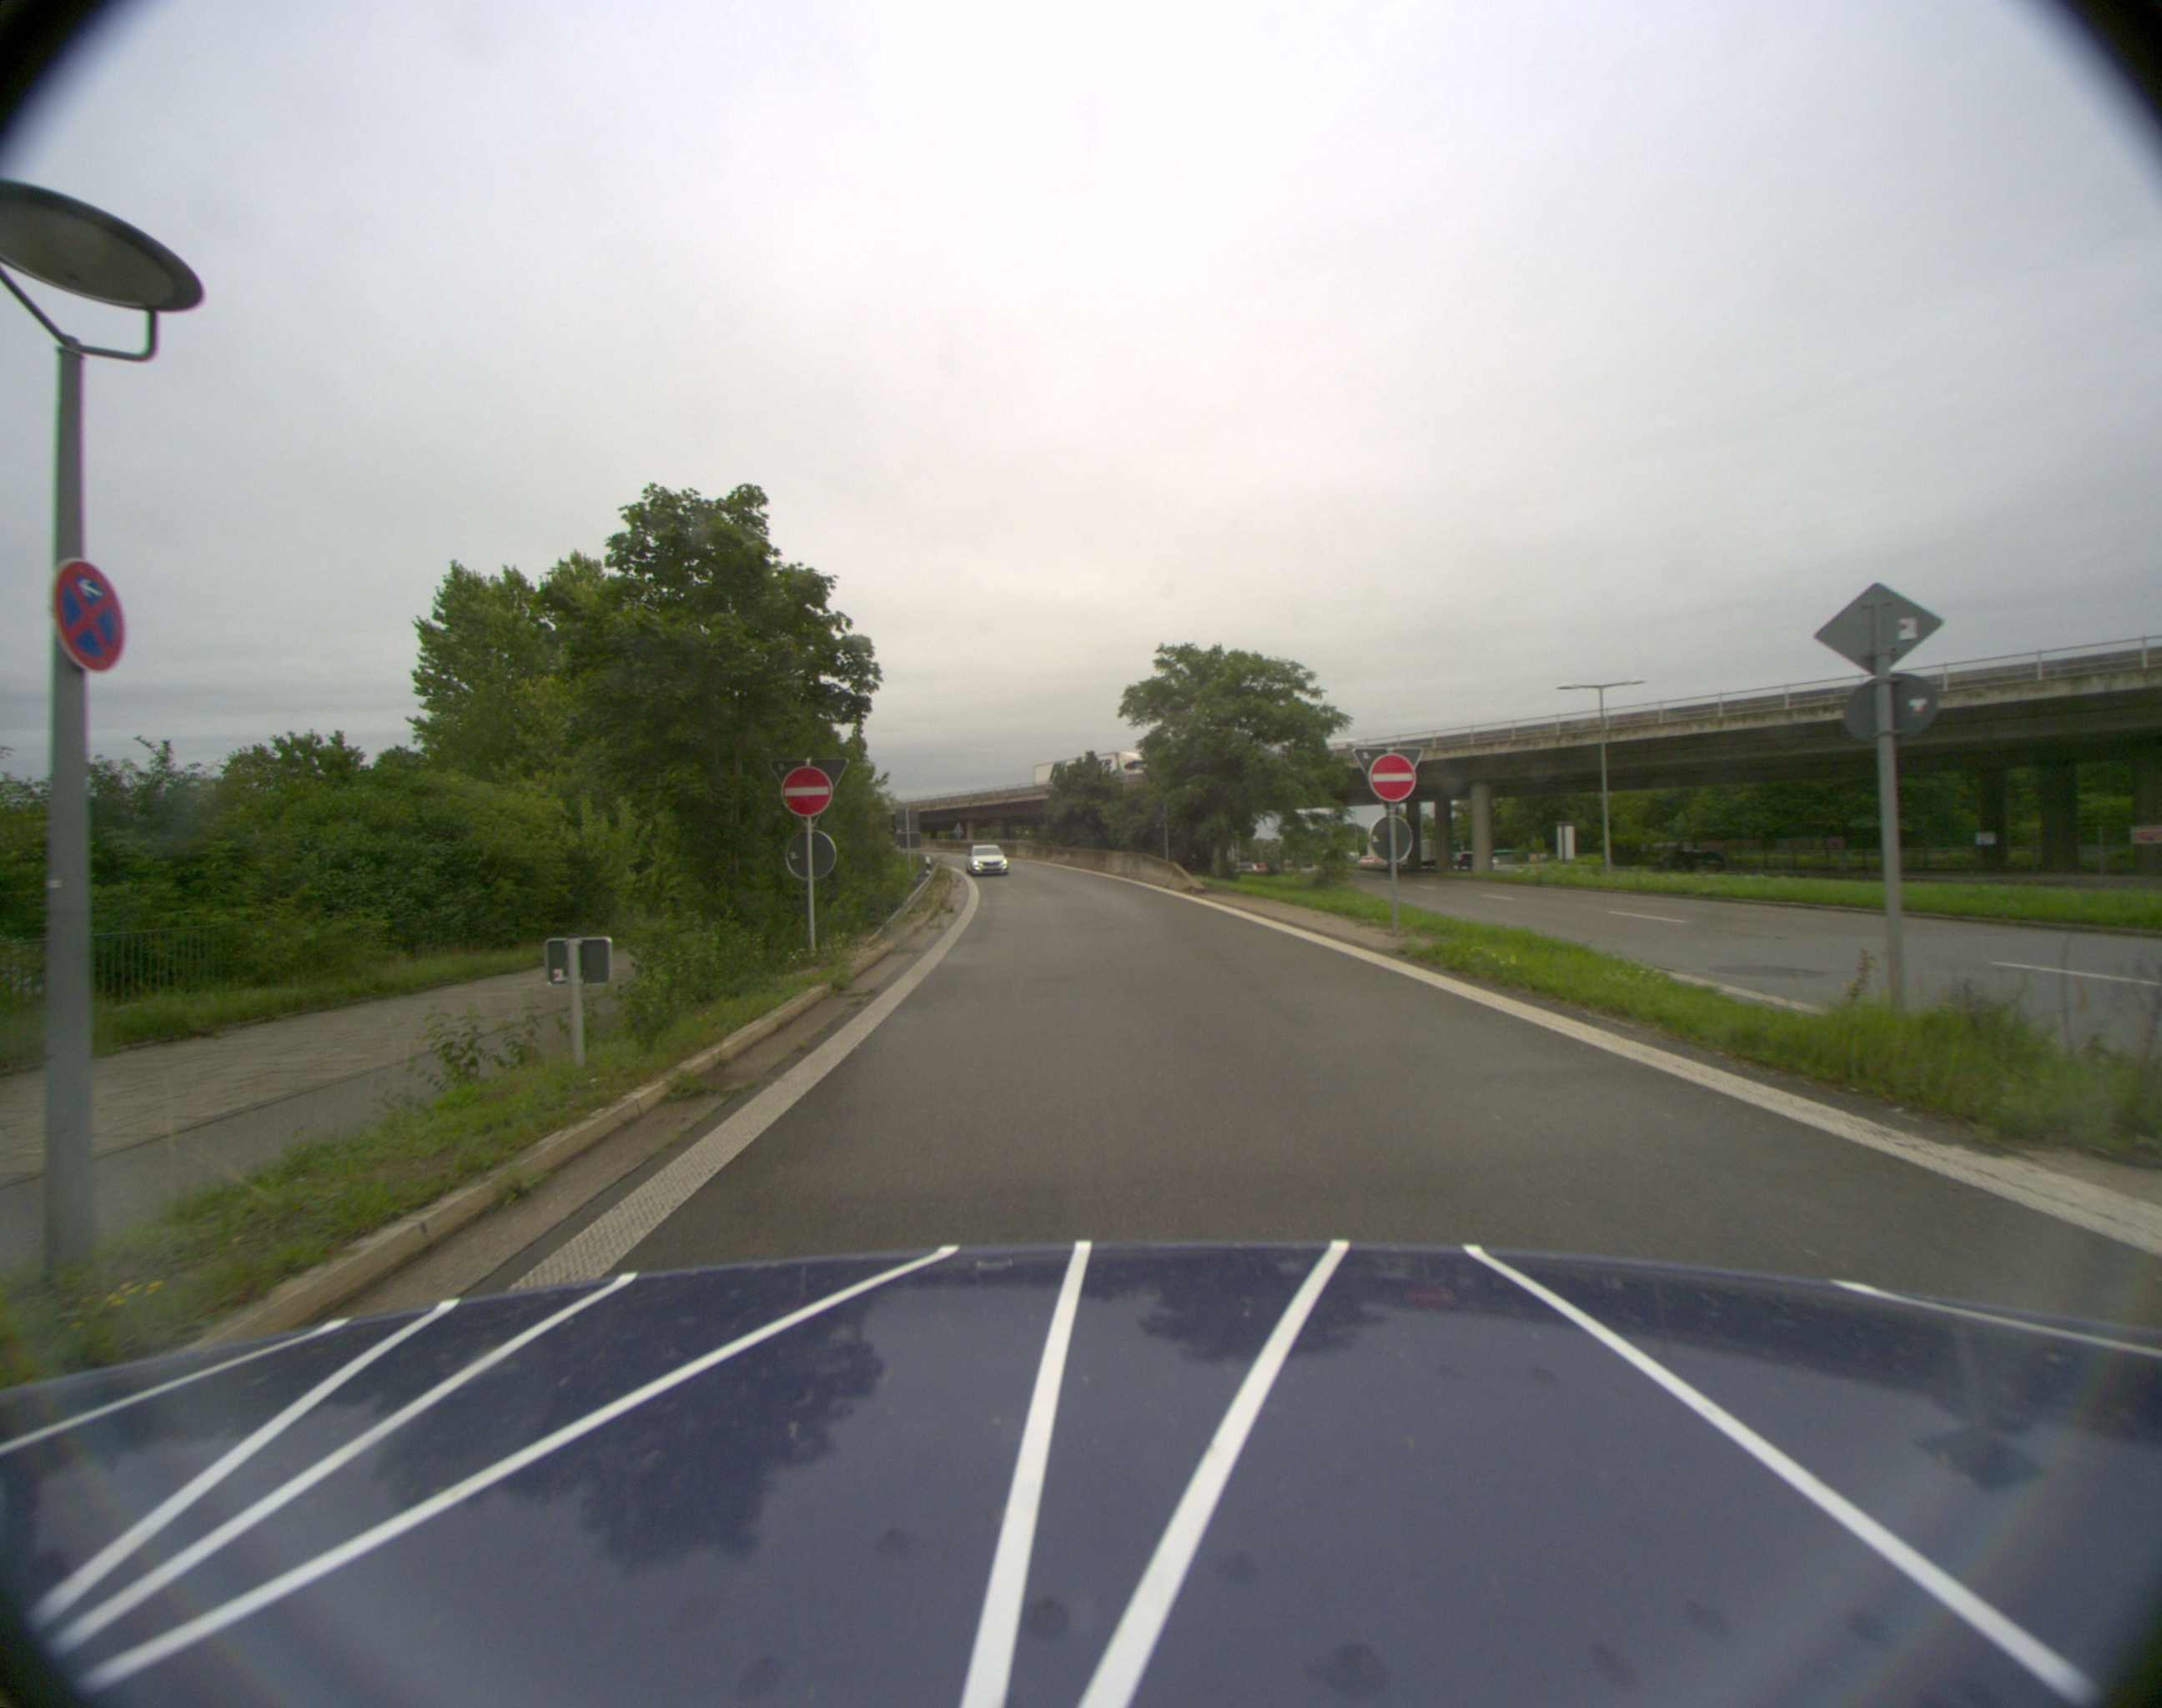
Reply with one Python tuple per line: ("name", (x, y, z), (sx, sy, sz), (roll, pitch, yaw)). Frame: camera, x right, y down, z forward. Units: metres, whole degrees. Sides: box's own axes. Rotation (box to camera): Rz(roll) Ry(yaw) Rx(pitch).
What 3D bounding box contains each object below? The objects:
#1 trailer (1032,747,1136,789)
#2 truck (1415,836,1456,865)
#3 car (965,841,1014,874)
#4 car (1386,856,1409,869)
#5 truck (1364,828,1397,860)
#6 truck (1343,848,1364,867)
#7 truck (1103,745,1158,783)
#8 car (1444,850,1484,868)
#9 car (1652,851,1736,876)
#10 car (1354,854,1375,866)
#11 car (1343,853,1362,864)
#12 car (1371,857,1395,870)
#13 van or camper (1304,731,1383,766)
("trailer", (0.037, -9.219, 83.146), (2.671, 3.279, 14.020), (-2, 2, -42))
("truck", (38.339, -0.387, 82.381), (2.256, 2.960, 7.239), (1, 1, 11))
("car", (-4.637, 0.140, 38.054), (1.917, 1.439, 4.549), (-2, 2, -13))
("car", (41.424, 1.087, 99.452), (1.972, 1.574, 4.595), (1, 1, 12))
("truck", (44.087, -1.468, 112.075), (2.794, 4.565, 9.610), (1, 1, 12))
("truck", (53.254, 0.625, 148.552), (2.794, 3.658, 6.649), (1, 1, 12))
("truck", (4.996, -9.117, 77.520), (2.602, 3.227, 5.179), (-3, 2, -41))
("car", (35.631, 0.452, 70.812), (1.972, 1.574, 4.594), (1, 1, 9))
("car", (36.604, 0.545, 45.529), (1.972, 1.389, 4.821), (0, 1, 13))
("car", (40.293, 0.833, 108.095), (1.972, 1.574, 4.594), (1, 1, 9))
("car", (41.862, 0.683, 117.083), (1.972, 1.574, 4.594), (-2, 0, 10))
("car", (37.939, 1.161, 95.558), (1.972, 1.574, 4.594), (1, 1, 10))
("van or camper", (20.730, -8.327, 60.261), (2.336, 2.002, 5.492), (-2, 1, -40))
